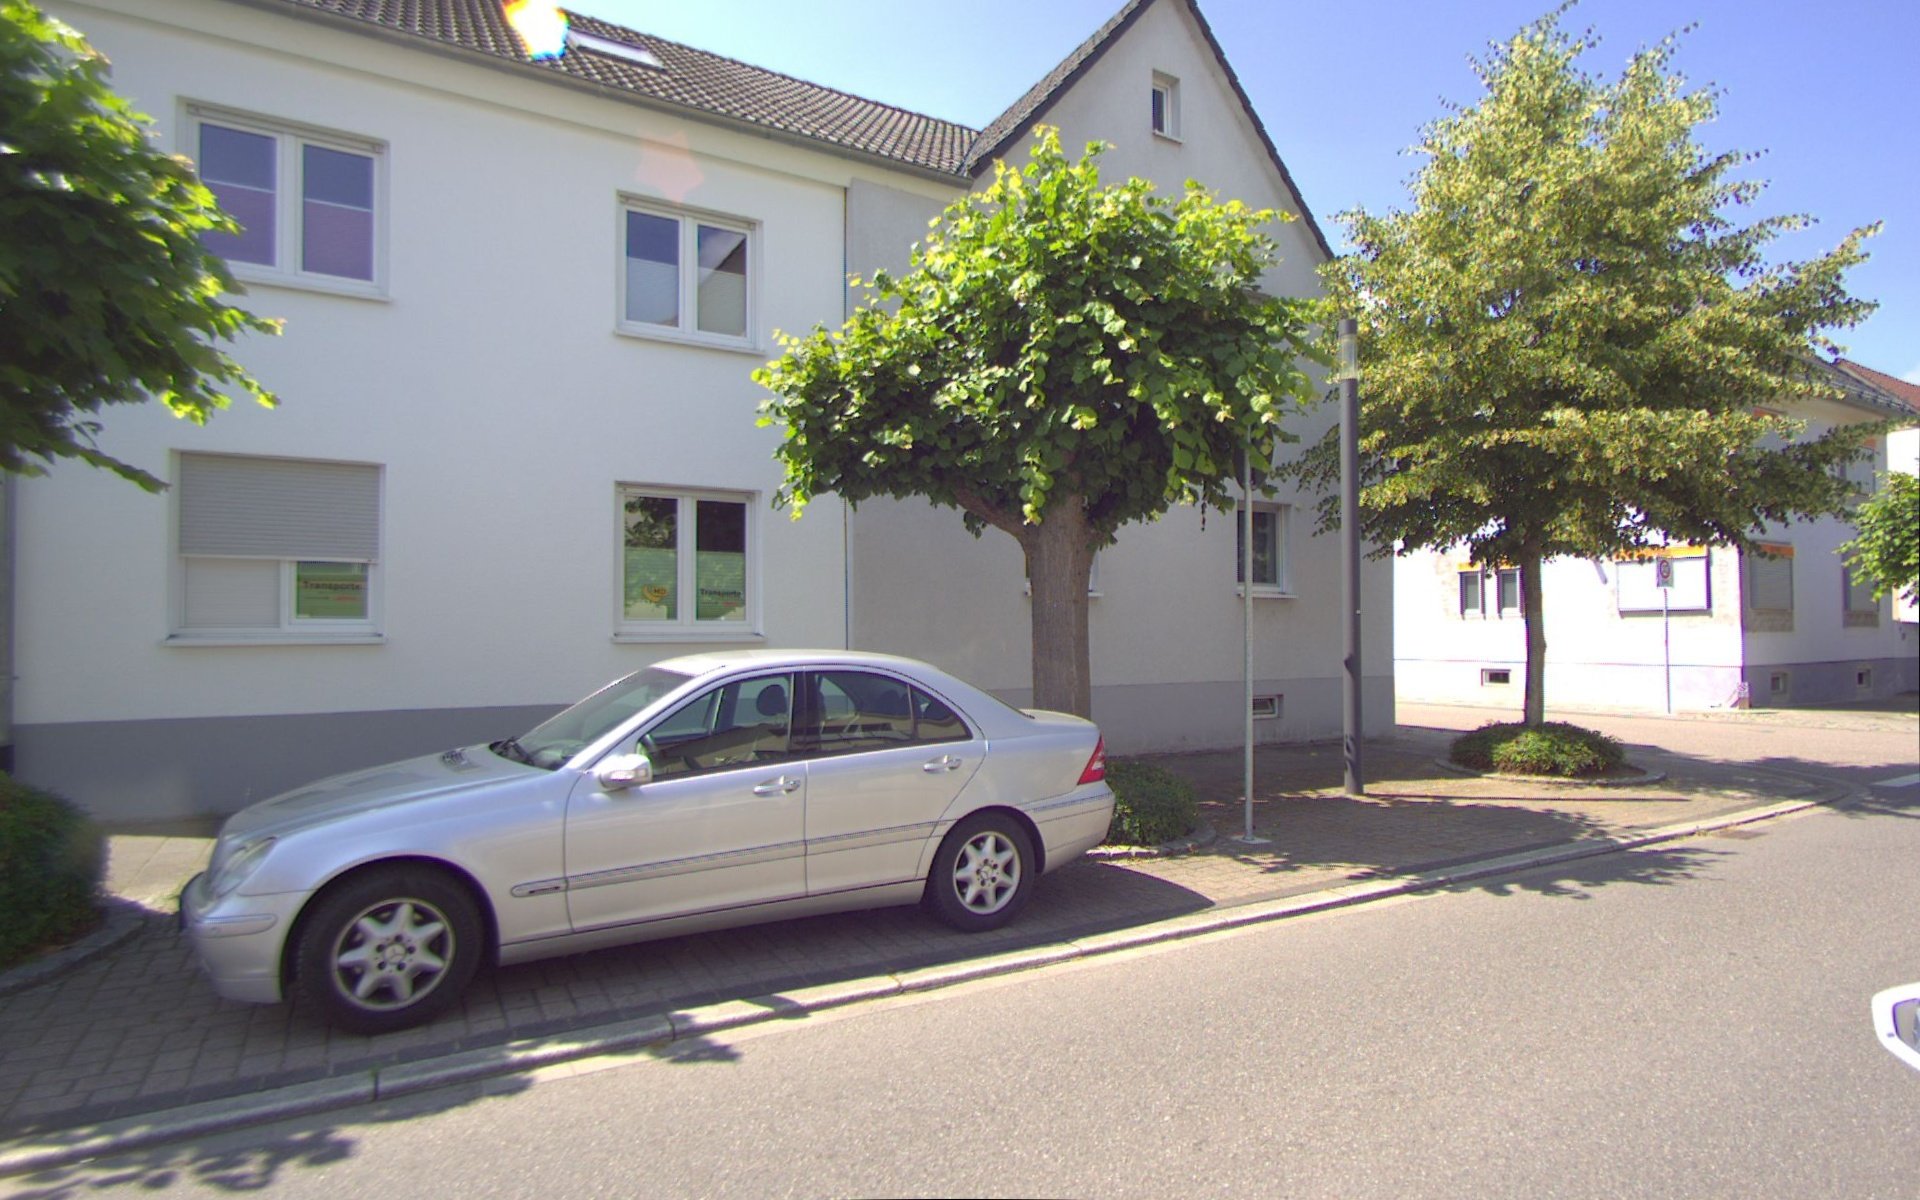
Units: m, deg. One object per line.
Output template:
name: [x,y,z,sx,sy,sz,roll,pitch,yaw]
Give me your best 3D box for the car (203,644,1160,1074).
car: [-1.182,0.968,5.362,4.356,1.414,1.831,1,-2,-31]
